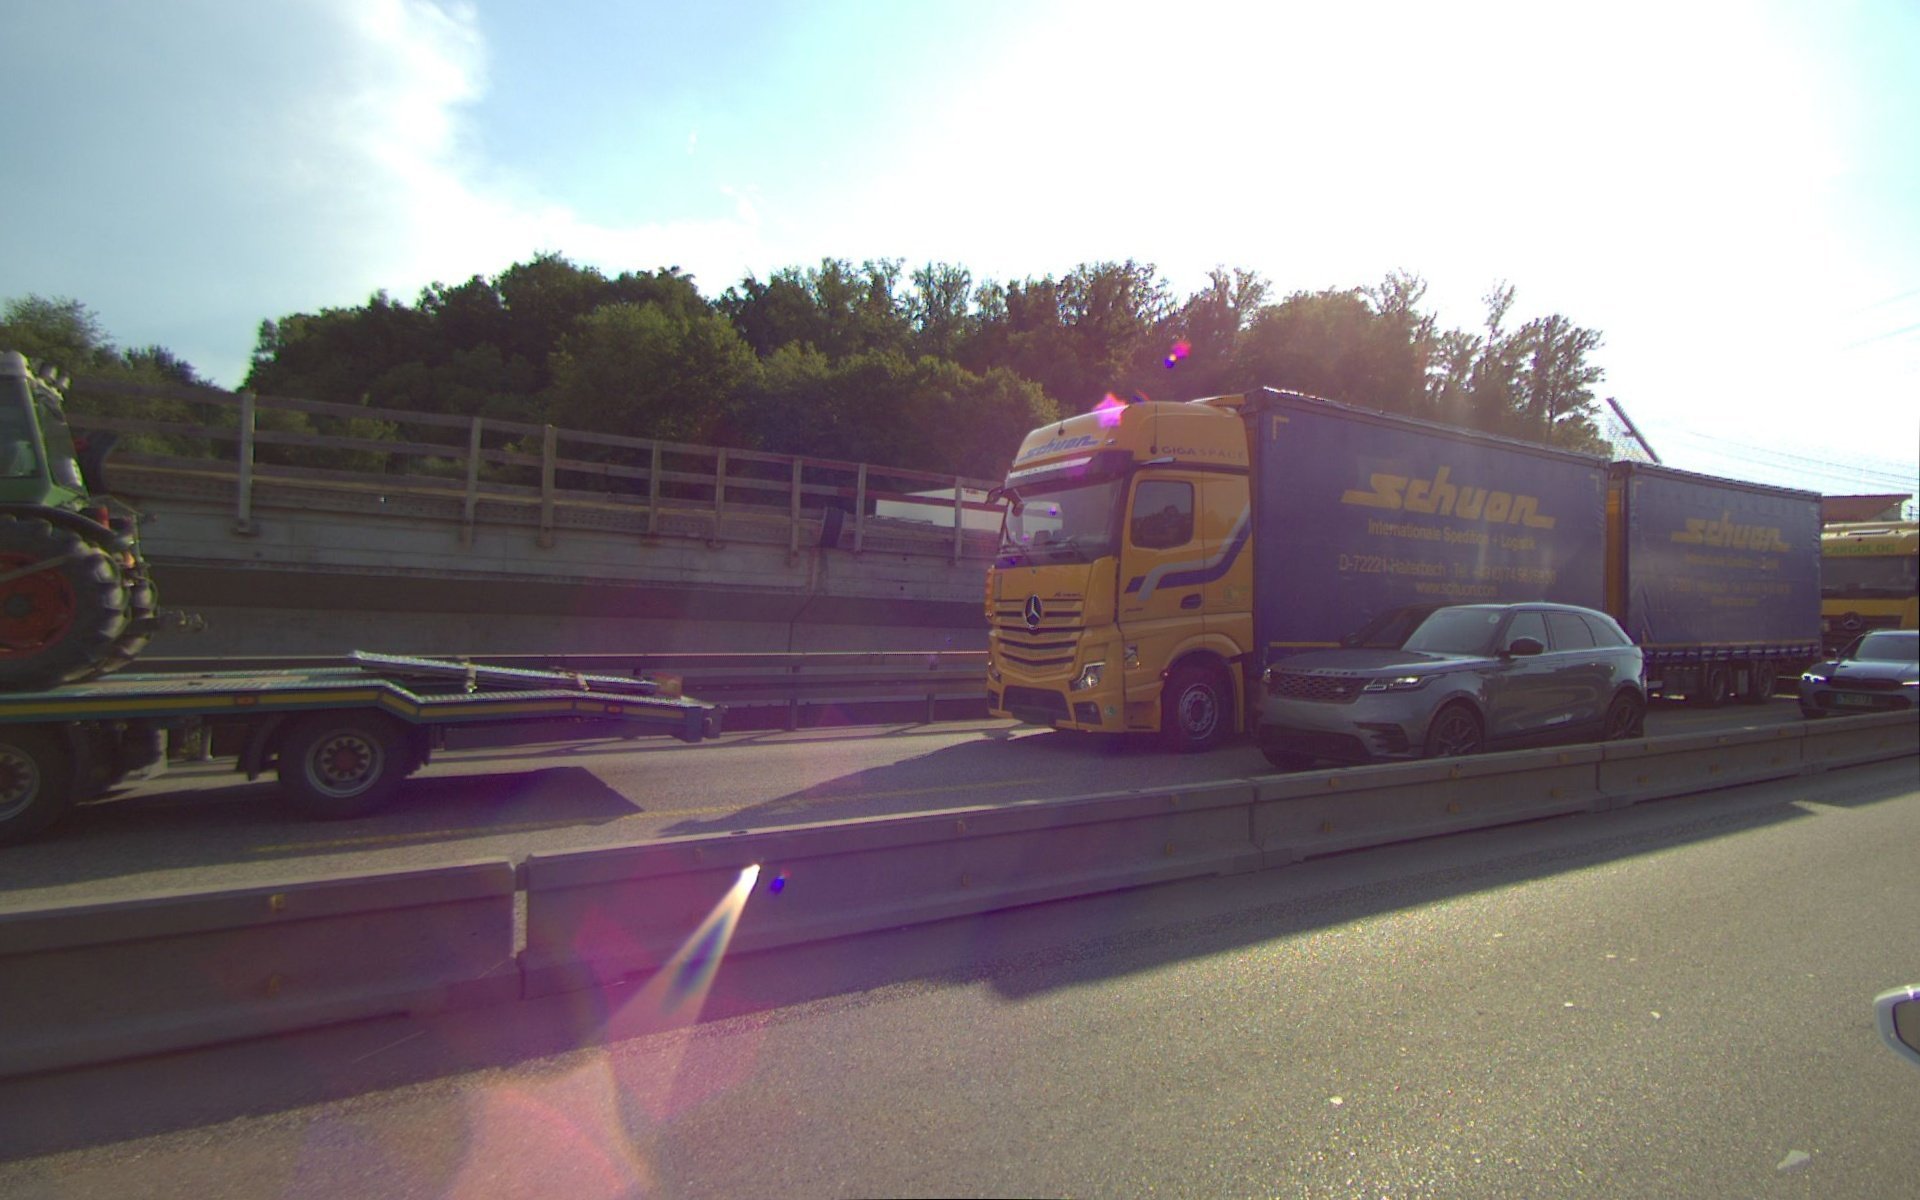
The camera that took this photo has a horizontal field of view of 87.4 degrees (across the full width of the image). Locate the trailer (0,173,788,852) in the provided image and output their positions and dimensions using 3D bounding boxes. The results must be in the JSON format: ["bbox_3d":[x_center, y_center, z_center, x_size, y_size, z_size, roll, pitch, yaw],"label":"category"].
[{"bbox_3d":[-8.913,-0.551,5.267,15.858,3.866,2.736,2,-2,-30],"label":"trailer"}]

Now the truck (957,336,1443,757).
[{"bbox_3d":[3.120,-0.421,12.657,5.729,4.195,2.687,2,-2,-32],"label":"truck"}]

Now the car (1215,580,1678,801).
[{"bbox_3d":[4.878,0.803,9.880,4.638,1.724,1.917,2,-2,-31],"label":"car"}]

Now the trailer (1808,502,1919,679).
[{"bbox_3d":[29.288,0.067,29.175,15.826,4.259,2.686,2,-2,-33],"label":"trailer"}]

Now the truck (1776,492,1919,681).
[{"bbox_3d":[22.663,-0.211,24.850,4.351,4.252,2.678,2,-2,-33],"label":"truck"}]

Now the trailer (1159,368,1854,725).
[{"bbox_3d":[10.548,-0.323,17.313,16.565,4.189,2.700,2,-2,-32],"label":"trailer"}]

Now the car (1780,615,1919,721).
[{"bbox_3d":[15.393,1.073,16.319,4.671,1.517,1.779,2,-2,-31],"label":"car"}]
